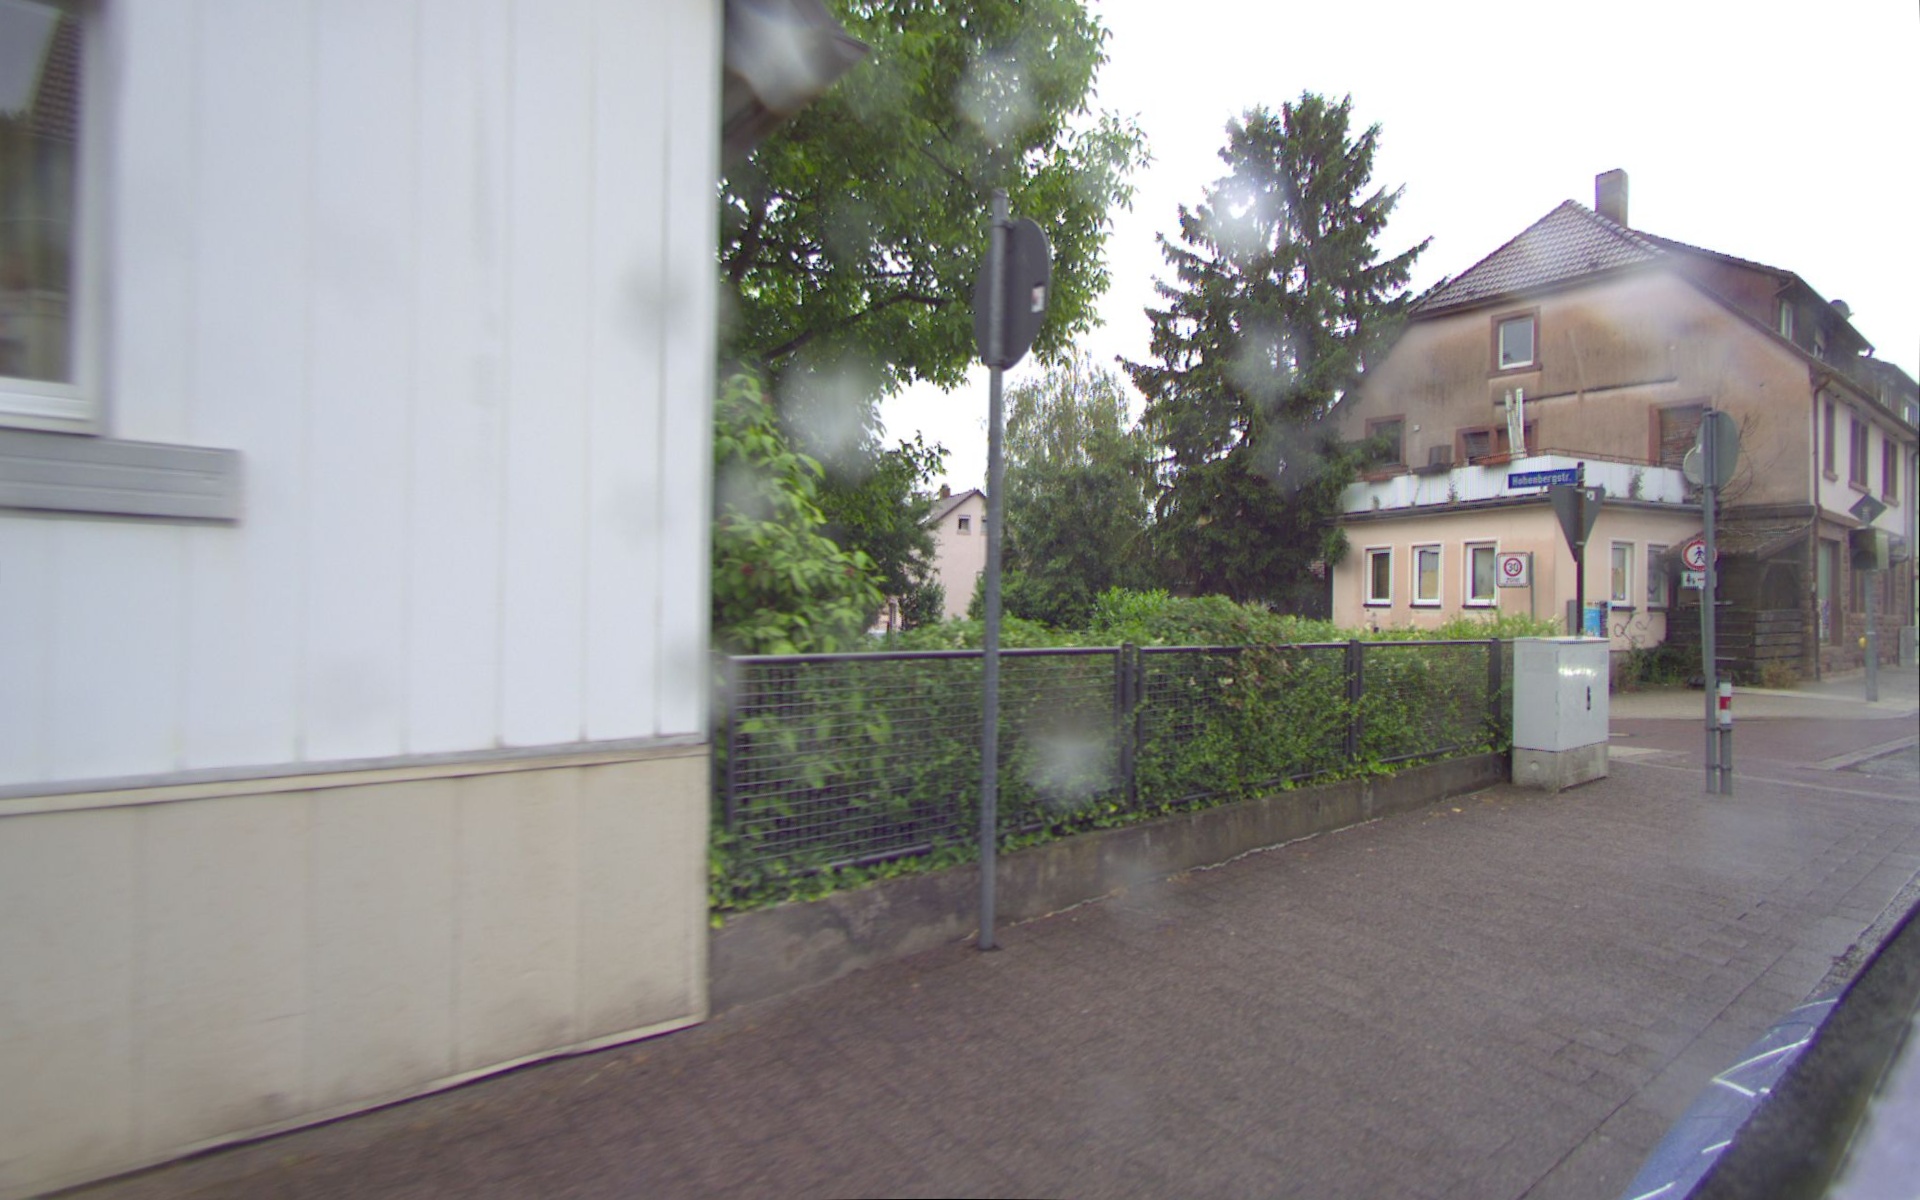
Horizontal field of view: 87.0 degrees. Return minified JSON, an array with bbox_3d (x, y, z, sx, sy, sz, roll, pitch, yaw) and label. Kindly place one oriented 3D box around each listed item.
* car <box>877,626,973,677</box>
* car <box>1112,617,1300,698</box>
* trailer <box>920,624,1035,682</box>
[{"bbox_3d":[-1.278,1.727,34.864,1.958,1.591,4.103,-1,-2,-23],"label":"car"},{"bbox_3d":[4.954,1.124,20.955,1.755,1.490,4.006,0,-2,-22],"label":"car"},{"bbox_3d":[0.432,1.574,30.765,1.961,1.587,4.555,-1,-2,-20],"label":"trailer"}]
